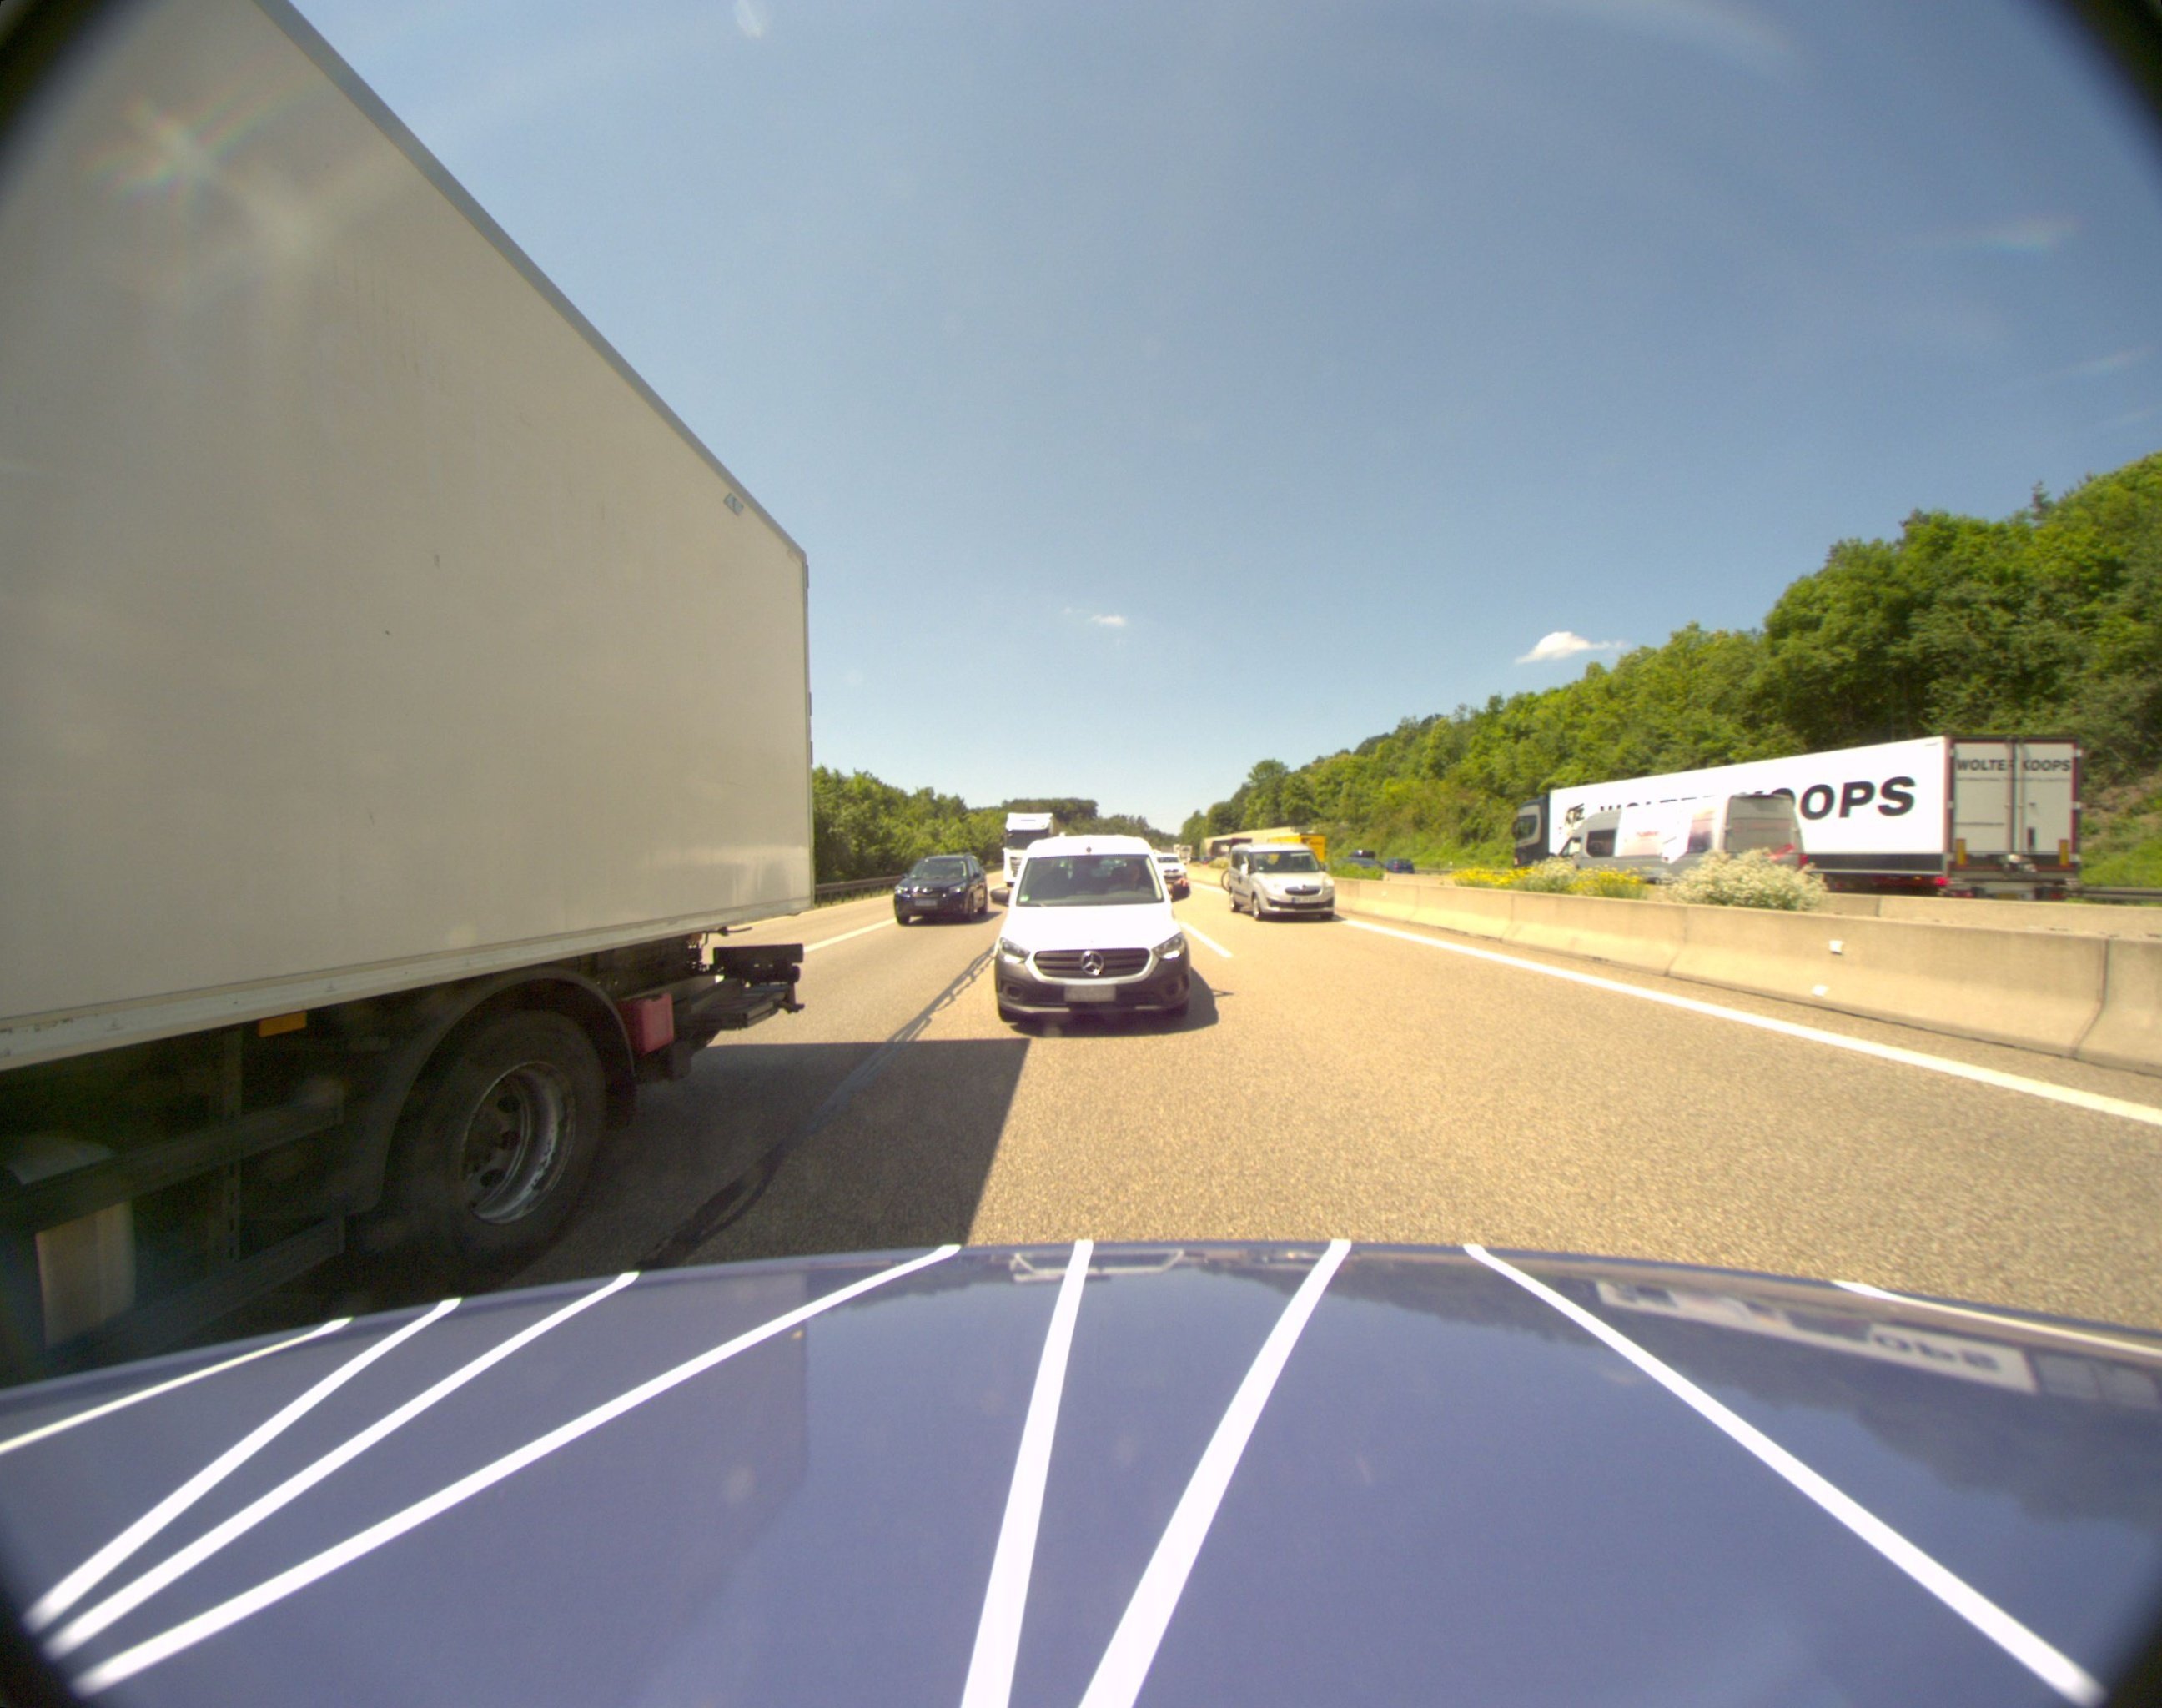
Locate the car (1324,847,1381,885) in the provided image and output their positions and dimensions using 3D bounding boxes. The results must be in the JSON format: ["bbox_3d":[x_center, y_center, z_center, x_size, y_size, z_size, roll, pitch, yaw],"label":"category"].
[{"bbox_3d":[15.561,0.664,43.720,1.998,2.002,4.000,-2,1,3],"label":"car"}]

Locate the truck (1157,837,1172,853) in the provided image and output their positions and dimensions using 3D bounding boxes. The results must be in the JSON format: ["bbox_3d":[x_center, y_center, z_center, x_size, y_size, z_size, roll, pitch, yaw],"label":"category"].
[{"bbox_3d":[26.159,-2.844,238.253,3.277,4.518,14.101,-2,-1,1],"label":"truck"}]

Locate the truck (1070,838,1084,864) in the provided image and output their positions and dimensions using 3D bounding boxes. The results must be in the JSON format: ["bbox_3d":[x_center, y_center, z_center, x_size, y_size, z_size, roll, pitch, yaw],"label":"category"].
[{"bbox_3d":[-0.665,-0.485,134.916,2.187,4.437,10.869,-2,-1,0],"label":"truck"}]

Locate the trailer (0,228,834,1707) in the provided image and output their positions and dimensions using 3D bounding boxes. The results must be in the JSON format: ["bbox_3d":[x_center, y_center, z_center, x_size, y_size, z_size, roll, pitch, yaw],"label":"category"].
[{"bbox_3d":[-3.306,0.281,2.000,2.562,2.882,7.882,-2,0,0],"label":"trailer"}]

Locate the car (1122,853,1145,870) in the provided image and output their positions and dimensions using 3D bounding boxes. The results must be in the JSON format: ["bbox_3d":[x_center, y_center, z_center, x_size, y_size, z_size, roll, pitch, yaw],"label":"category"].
[{"bbox_3d":[5.701,0.779,82.431,1.999,1.747,3.998,-2,1,-3],"label":"car"}]

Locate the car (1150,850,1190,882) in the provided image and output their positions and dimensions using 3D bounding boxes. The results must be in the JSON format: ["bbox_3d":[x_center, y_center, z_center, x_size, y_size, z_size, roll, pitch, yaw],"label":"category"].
[{"bbox_3d":[5.076,0.658,43.788,1.824,1.696,3.999,-2,1,1],"label":"car"}]

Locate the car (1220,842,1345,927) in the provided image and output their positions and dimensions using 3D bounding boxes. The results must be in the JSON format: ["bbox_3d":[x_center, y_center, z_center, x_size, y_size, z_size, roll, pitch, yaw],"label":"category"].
[{"bbox_3d":[4.804,0.628,18.890,1.857,1.762,4.917,-2,1,1],"label":"car"}]

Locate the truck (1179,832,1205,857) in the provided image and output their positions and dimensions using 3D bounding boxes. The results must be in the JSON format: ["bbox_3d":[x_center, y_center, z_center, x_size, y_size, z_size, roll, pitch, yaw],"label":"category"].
[{"bbox_3d":[22.108,-1.758,152.410,3.277,4.518,14.101,-2,-1,1],"label":"truck"}]

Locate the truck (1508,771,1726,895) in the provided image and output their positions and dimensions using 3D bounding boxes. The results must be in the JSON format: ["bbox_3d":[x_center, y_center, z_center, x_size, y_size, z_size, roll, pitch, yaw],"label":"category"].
[{"bbox_3d":[19.337,-0.715,28.147,2.947,3.897,7.215,-2,1,0],"label":"truck"}]

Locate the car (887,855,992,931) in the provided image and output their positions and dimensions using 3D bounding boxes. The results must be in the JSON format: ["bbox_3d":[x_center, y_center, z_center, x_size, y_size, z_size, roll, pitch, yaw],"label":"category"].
[{"bbox_3d":[-3.568,0.901,19.994,1.999,1.682,4.609,-1,1,-2],"label":"car"}]

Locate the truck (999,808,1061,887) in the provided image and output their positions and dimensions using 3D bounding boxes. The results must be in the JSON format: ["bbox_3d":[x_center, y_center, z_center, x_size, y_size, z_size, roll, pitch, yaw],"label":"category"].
[{"bbox_3d":[-2.789,-0.396,43.759,2.766,4.060,7.333,-2,1,1],"label":"truck"}]

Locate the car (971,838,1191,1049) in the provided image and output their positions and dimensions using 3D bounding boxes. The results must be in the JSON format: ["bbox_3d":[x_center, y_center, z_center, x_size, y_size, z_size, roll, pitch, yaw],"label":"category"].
[{"bbox_3d":[0.035,0.715,8.458,1.756,1.681,4.363,-2,1,1],"label":"car"}]

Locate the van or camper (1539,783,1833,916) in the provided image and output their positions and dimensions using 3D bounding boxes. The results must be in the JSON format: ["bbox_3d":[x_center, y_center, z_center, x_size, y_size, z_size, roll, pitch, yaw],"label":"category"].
[{"bbox_3d":[15.430,-0.130,20.194,2.400,2.859,6.711,-2,1,0],"label":"van or camper"}]

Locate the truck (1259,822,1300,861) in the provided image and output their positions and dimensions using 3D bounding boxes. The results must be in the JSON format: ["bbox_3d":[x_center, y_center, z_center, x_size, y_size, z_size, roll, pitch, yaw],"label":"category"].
[{"bbox_3d":[24.091,-1.497,92.542,3.099,4.519,7.093,-2,1,1],"label":"truck"}]

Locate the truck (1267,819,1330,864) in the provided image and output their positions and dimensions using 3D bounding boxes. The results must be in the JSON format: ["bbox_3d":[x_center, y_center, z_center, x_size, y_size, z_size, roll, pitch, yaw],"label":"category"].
[{"bbox_3d":[23.980,-1.394,84.817,3.099,4.519,14.098,-2,1,1],"label":"truck"}]

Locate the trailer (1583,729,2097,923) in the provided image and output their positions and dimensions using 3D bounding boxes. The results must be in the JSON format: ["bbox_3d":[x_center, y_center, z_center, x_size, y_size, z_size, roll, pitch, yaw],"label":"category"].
[{"bbox_3d":[19.318,-0.637,21.251,3.004,3.849,11.399,-2,1,1],"label":"trailer"}]

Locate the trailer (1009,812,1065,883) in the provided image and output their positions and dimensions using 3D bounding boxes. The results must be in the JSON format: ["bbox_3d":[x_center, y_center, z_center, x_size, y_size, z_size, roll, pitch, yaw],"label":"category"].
[{"bbox_3d":[-2.687,-0.443,49.746,2.766,4.060,11.616,0,1,1],"label":"trailer"}]

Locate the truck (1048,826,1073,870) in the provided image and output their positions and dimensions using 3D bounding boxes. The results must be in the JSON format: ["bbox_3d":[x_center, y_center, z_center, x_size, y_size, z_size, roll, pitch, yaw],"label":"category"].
[{"bbox_3d":[-2.147,-0.524,83.146,2.394,4.437,10.869,-2,-1,0],"label":"truck"}]

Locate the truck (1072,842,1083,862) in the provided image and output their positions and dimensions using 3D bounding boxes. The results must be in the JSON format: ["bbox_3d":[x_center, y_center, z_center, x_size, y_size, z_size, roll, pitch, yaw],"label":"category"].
[{"bbox_3d":[-0.810,-0.381,170.886,2.187,4.072,10.869,-2,-1,0],"label":"truck"}]

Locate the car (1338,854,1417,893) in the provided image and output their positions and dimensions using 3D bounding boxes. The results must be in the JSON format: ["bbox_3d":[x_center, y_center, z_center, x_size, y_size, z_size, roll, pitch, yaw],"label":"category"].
[{"bbox_3d":[11.992,0.760,31.034,1.707,1.443,4.000,-1,0,1],"label":"car"}]

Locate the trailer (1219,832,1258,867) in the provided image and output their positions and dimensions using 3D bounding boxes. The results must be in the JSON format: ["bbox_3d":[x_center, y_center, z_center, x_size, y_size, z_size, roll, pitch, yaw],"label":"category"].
[{"bbox_3d":[20.413,-0.635,98.922,3.443,4.170,7.896,-2,1,1],"label":"trailer"}]

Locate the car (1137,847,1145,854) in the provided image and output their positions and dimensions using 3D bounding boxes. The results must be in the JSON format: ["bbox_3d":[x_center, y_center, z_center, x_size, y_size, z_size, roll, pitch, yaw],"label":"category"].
[{"bbox_3d":[18.260,-1.074,230.876,1.998,2.001,4.001,-2,-1,1],"label":"car"}]

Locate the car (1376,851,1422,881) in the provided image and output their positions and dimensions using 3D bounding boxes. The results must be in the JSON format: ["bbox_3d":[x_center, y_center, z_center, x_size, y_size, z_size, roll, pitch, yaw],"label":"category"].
[{"bbox_3d":[23.396,0.854,56.035,1.998,2.002,4.001,-2,1,5],"label":"car"}]
